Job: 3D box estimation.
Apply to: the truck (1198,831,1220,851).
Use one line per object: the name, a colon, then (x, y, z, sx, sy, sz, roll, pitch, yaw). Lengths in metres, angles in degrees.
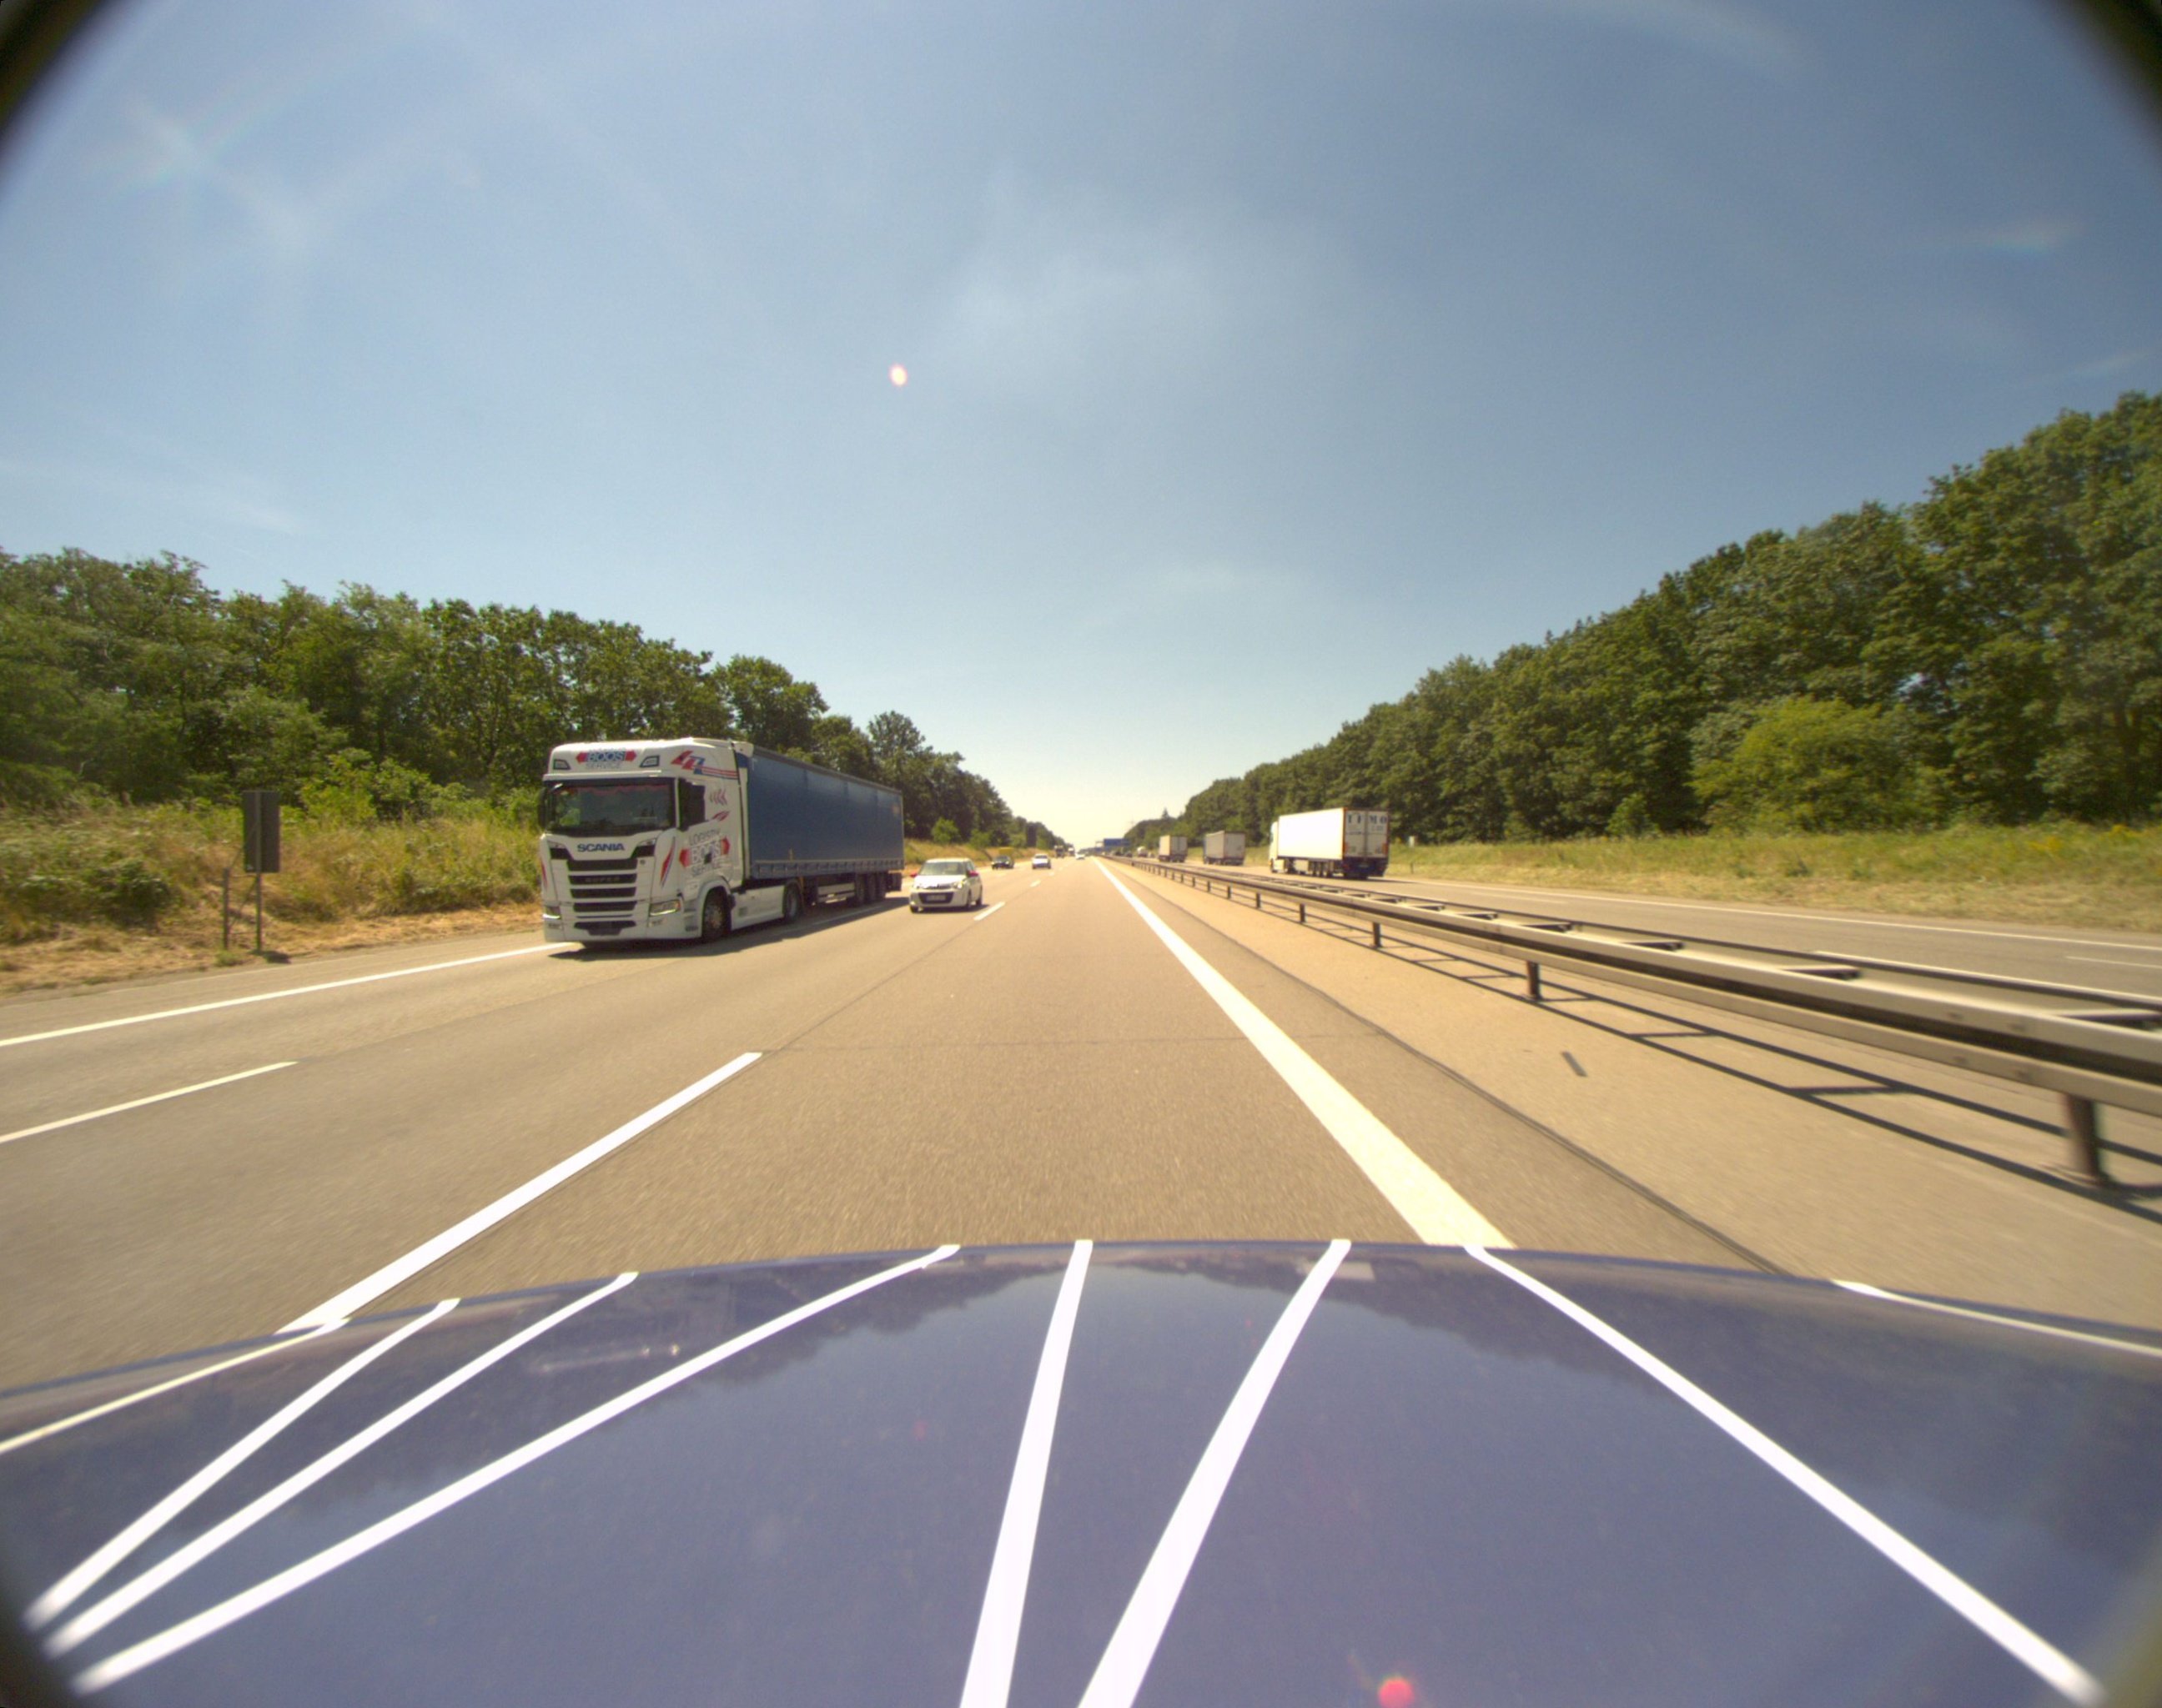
truck: (18.807, -1.873, 111.729, 2.162, 2.752, 6.107, -2, 1, 0)

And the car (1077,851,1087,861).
car: (0.246, 0.482, 161.077, 1.998, 2.002, 4.000, -2, 1, 1)

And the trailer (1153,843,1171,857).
trailer: (18.917, -0.960, 177.702, 3.230, 2.958, 7.174, -2, 1, 0)

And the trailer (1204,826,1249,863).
trailer: (18.110, -1.185, 95.784, 2.940, 4.160, 13.853, 2, 1, 0)

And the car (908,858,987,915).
car: (-3.761, 0.877, 21.874, 1.581, 1.412, 3.352, -2, 1, 1)

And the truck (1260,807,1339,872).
truck: (15.783, -1.015, 55.510, 3.539, 4.296, 7.057, 2, 1, 0)

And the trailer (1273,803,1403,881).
trailer: (15.796, -0.738, 48.407, 3.539, 4.160, 13.604, 2, 1, 0)

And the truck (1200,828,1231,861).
truck: (18.135, -1.256, 102.514, 2.940, 4.160, 6.039, 2, 1, 0)

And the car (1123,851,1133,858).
car: (10.715, 0.087, 174.974, 1.781, 1.543, 3.998, -2, 1, -3)

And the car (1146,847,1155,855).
car: (19.923, -0.827, 216.664, 1.999, 2.002, 3.999, -2, 1, -2)

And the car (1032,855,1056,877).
car: (-3.588, 1.124, 74.250, 1.998, 2.002, 3.999, -2, 1, 1)

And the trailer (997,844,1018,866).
trailer: (-7.908, 0.099, 82.422, 1.849, 2.196, 3.196, -2, 1, 1)

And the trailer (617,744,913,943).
trailer: (-8.028, -0.281, 22.614, 2.603, 3.980, 14.079, -2, 1, 1)

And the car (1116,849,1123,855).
car: (12.121, -0.652, 240.749, 1.780, 1.543, 3.999, -2, 1, -1)

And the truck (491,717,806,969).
truck: (-8.098, -0.203, 15.368, 2.603, 3.980, 6.173, -2, 1, 1)

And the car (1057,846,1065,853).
car: (-5.900, -1.303, 225.893, 1.998, 2.002, 4.000, -2, 1, 1)

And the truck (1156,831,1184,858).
truck: (14.357, -1.529, 122.529, 3.539, 4.160, 7.112, 2, 1, 0)

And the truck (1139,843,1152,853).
truck: (20.463, -1.924, 241.144, 3.541, 2.750, 8.794, -2, 1, 0)

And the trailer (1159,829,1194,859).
trailer: (14.369, -1.459, 115.777, 3.539, 4.160, 13.661, 2, 1, 0)

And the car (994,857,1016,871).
car: (-7.915, 1.010, 79.171, 1.845, 1.275, 3.352, -2, 1, 1)
